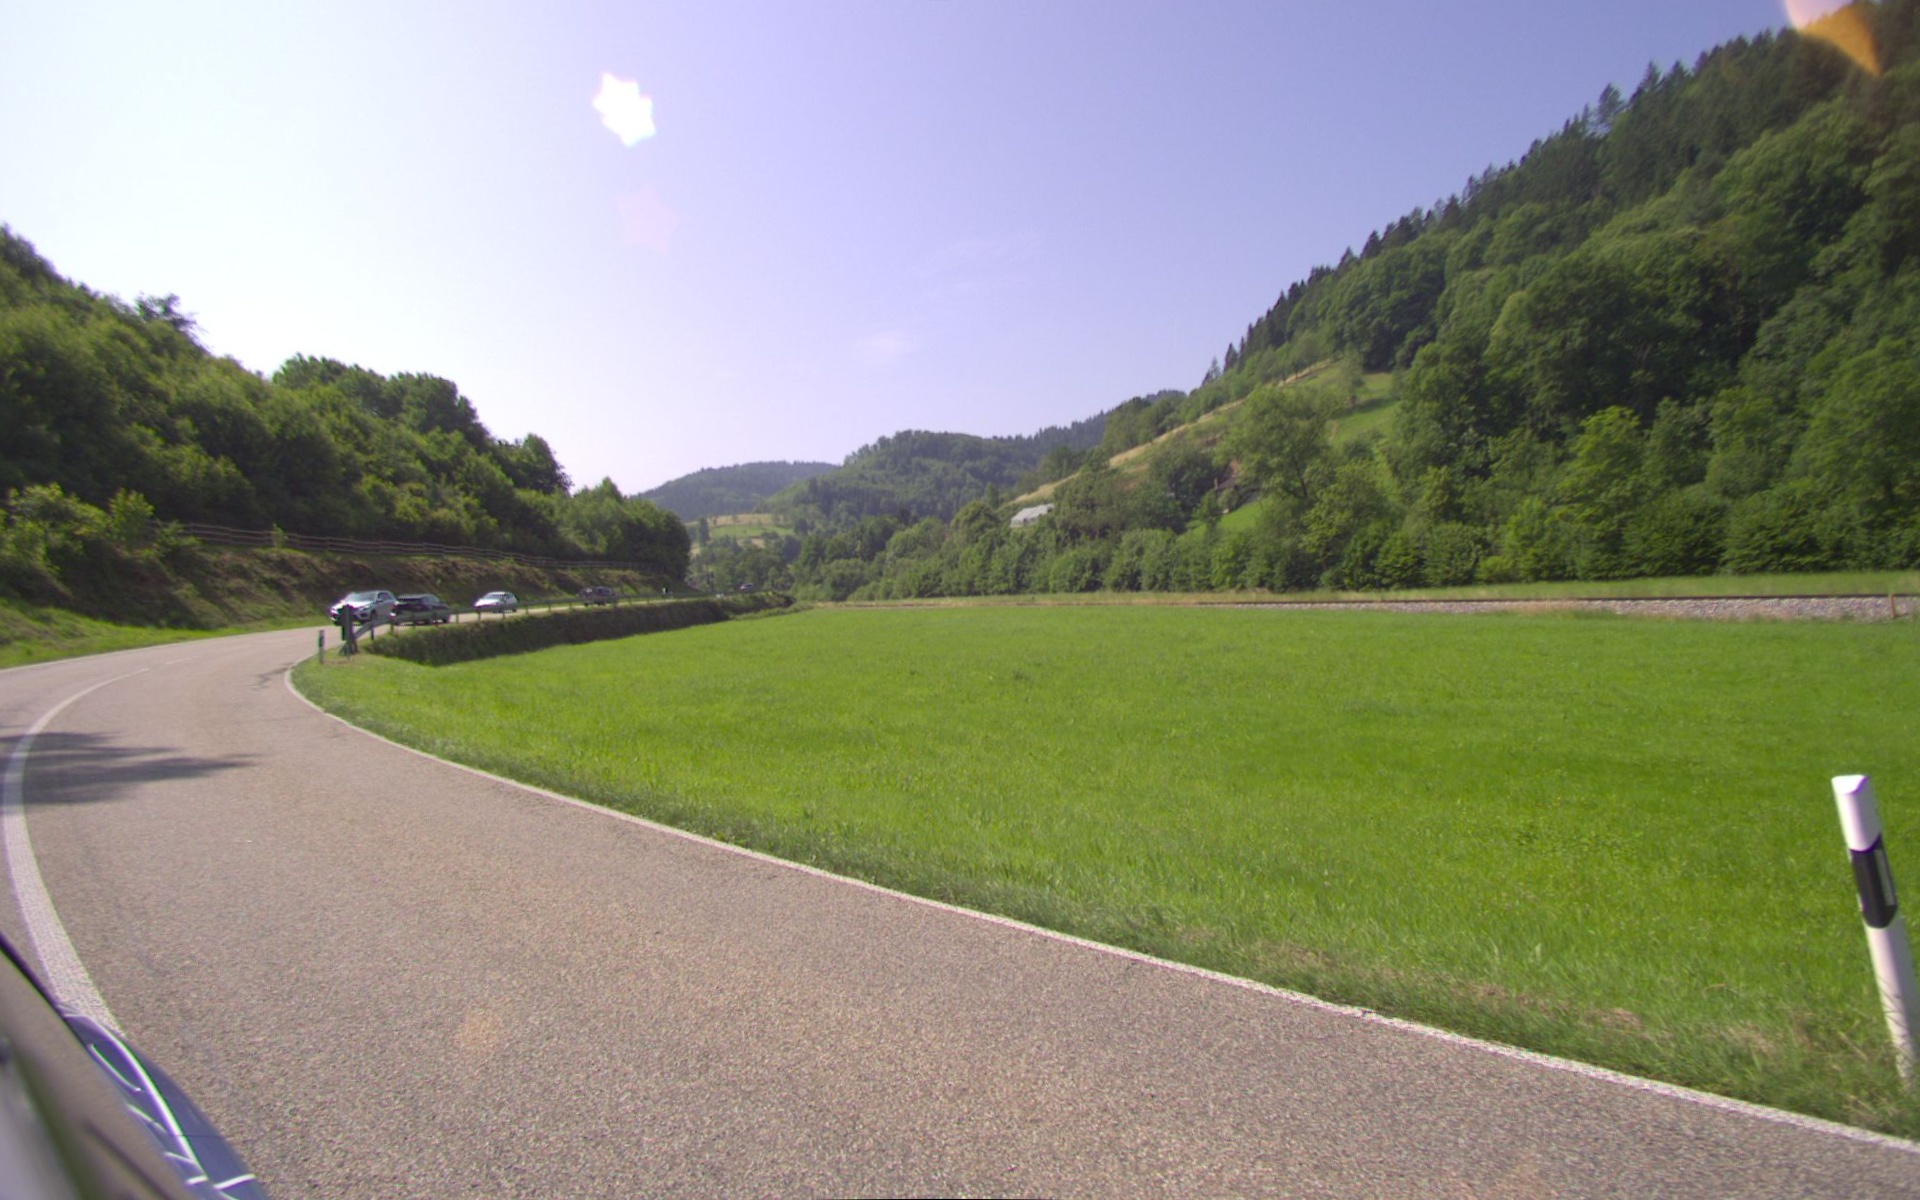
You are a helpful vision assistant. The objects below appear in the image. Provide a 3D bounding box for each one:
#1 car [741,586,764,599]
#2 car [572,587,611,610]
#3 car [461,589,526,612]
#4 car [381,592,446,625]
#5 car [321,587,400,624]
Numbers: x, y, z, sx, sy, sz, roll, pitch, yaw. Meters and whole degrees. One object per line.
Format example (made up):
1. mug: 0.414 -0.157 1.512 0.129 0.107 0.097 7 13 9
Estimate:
1. car: -27.071 -0.972 132.200 1.693 1.688 3.991 -3 0 7
2. car: -30.583 -0.079 84.159 1.925 1.753 4.904 -3 0 -7
3. car: -33.486 0.038 72.768 2.122 1.502 4.663 -1 0 7
4. car: -29.020 0.421 53.886 1.850 1.599 4.607 -1 1 -12
5. car: -32.291 0.294 54.628 2.086 1.828 4.463 -2 0 -8
